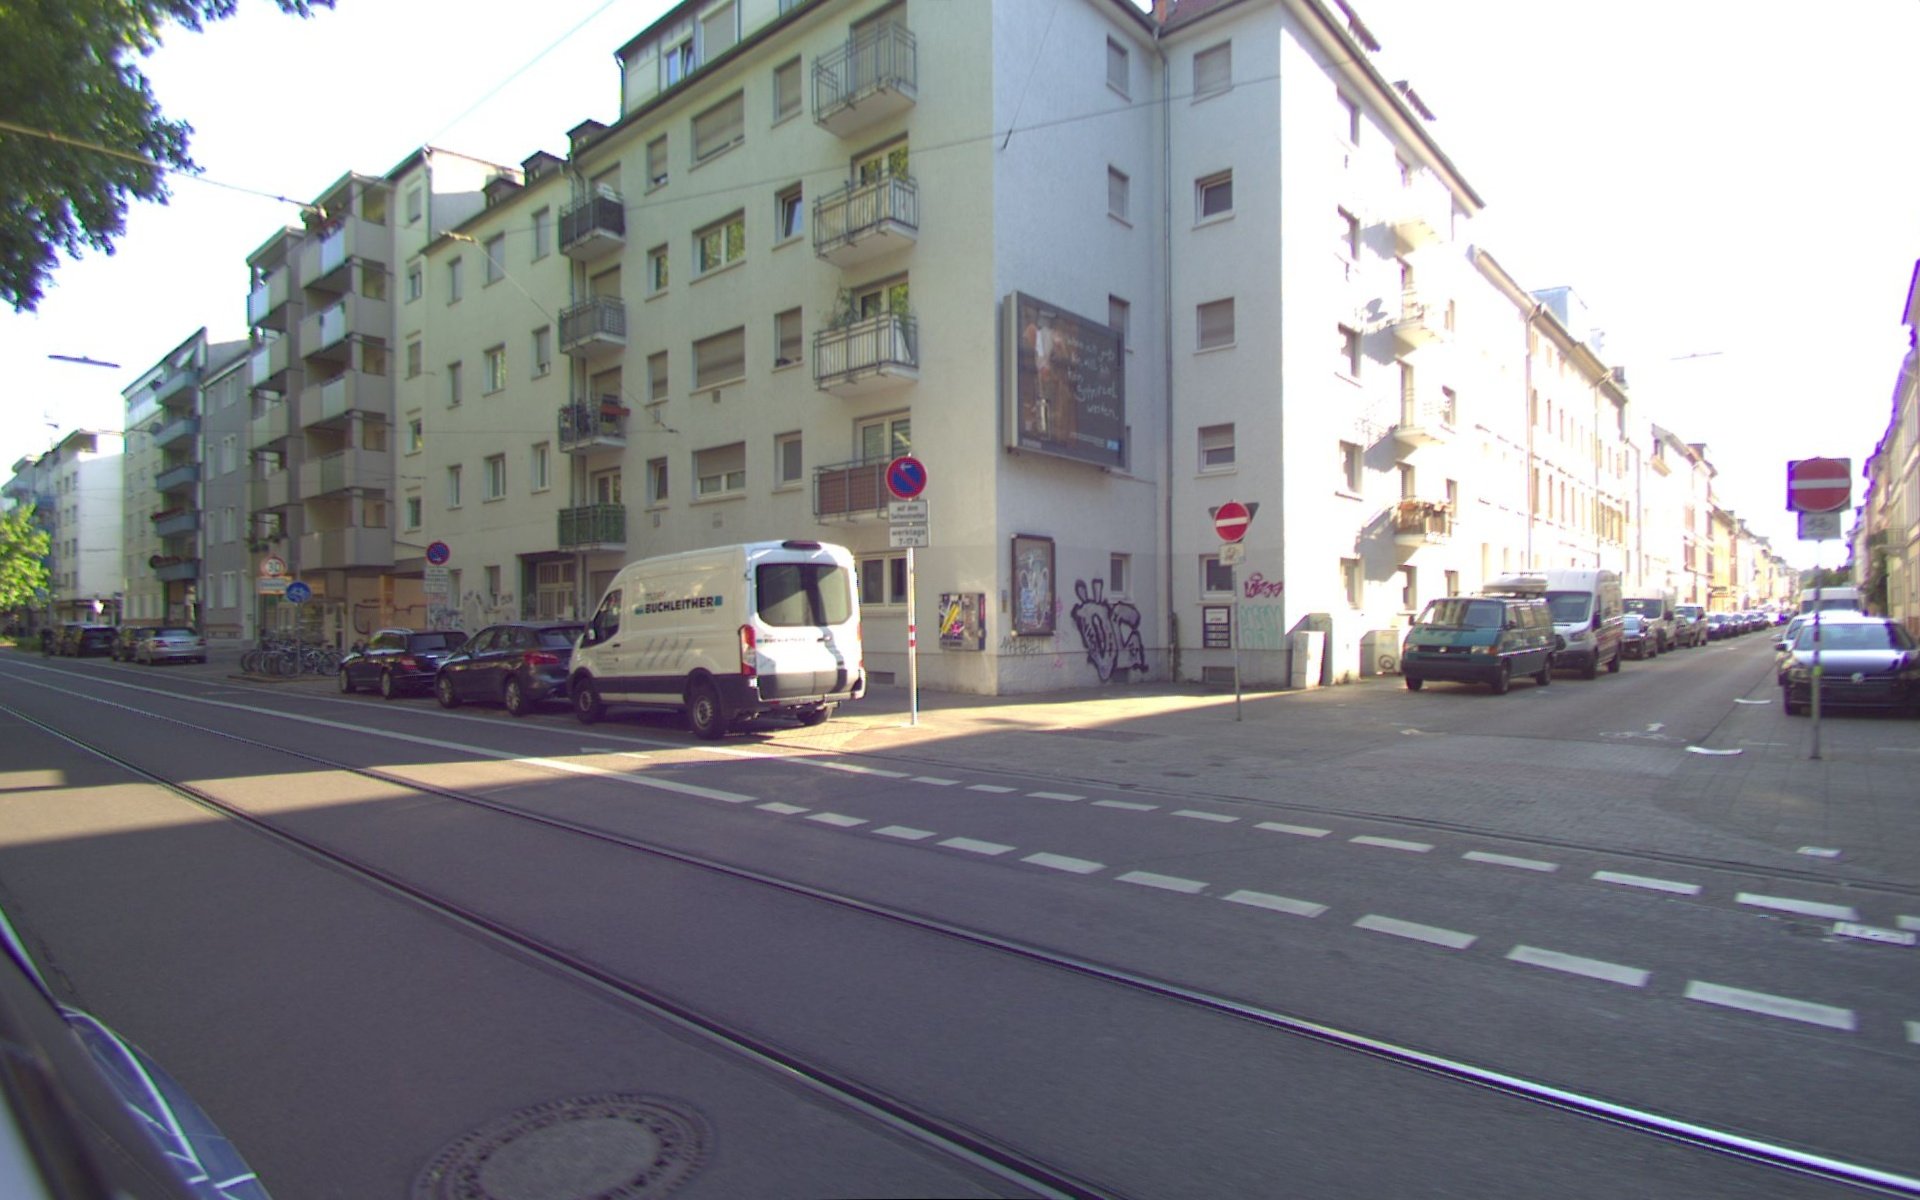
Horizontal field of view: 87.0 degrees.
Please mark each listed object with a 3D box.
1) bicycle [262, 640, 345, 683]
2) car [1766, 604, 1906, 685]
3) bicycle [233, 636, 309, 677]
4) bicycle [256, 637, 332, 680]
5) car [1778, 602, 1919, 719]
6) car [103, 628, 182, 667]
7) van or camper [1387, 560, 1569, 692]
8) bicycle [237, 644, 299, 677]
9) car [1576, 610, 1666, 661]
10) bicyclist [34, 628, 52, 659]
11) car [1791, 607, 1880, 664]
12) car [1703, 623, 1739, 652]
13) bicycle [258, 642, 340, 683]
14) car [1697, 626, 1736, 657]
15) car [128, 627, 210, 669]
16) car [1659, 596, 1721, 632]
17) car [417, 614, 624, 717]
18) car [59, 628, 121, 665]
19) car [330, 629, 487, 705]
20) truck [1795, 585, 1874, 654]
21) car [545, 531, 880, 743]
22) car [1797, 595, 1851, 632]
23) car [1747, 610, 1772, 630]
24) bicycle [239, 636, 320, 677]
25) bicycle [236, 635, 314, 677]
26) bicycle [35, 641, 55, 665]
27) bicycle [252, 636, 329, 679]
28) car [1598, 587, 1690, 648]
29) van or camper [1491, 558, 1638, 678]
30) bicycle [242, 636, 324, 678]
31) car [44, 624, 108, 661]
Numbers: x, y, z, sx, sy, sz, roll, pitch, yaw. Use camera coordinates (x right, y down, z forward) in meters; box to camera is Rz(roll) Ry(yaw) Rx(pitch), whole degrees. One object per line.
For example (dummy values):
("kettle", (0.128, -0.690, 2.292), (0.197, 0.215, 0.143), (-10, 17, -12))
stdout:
("bicycle", (-18.123, 1.682, 27.949), (1.871, 1.045, 0.402), (-1, 0, -42))
("car", (18.801, 0.909, 21.681), (3.623, 1.586, 1.857), (0, -2, -43))
("bicycle", (-21.058, 1.718, 30.968), (1.871, 1.127, 0.402), (-1, 0, -42))
("bicycle", (-19.042, 1.664, 28.955), (1.767, 1.127, 0.425), (-1, 0, -42))
("car", (13.776, 0.867, 15.303), (3.133, 1.597, 1.723), (1, -3, -43))
("car", (-33.860, 1.942, 41.888), (4.237, 1.502, 1.775), (-1, -2, 40))
("van or camper", (10.788, 0.524, 20.882), (2.022, 2.405, 5.046), (-2, -2, 43))
("bicycle", (-21.452, 1.854, 31.406), (0.400, 0.924, 1.610), (-1, 0, 24))
("car", (21.702, 1.132, 33.186), (1.855, 1.586, 3.626), (-3, -2, 43))
("bicyclist", (-41.330, 1.961, 45.610), (0.709, 1.405, 0.503), (-1, -3, 41))
("car", (26.500, 1.045, 30.591), (1.855, 1.586, 3.626), (-3, -2, 43))
("car", (45.632, 2.209, 60.672), (1.585, 1.606, 3.398), (-1, 0, 39))
("bicycle", (-18.510, 1.738, 28.367), (1.871, 1.045, 0.402), (-1, 0, -42))
("car", (42.619, 2.304, 56.986), (1.585, 1.606, 3.398), (-1, 0, 39))
("car", (-30.189, 1.792, 38.578), (4.727, 1.502, 1.671), (-2, -2, 42))
("car", (33.923, 0.639, 47.023), (1.855, 1.586, 3.626), (-3, -2, 43))
("car", (-8.026, 1.106, 18.300), (4.343, 1.644, 1.701), (-1, -1, 40))
("car", (-42.032, 2.215, 48.856), (4.199, 1.612, 1.639), (-1, 0, 41))
("car", (-12.133, 1.375, 22.130), (4.572, 1.467, 1.699), (-1, -2, 43))
("truck", (34.575, 0.772, 39.963), (2.092, 2.534, 4.787), (-3, -2, 43))
("car", (-3.845, 0.506, 14.893), (5.667, 2.555, 2.042), (-2, -2, 43))
("car", (42.351, 0.648, 49.571), (1.775, 1.698, 3.903), (-1, 0, 44))
("car", (68.210, 1.720, 86.359), (1.585, 1.606, 3.398), (-1, 0, 39))
("bicycle", (-20.239, 1.664, 30.130), (1.937, 1.127, 0.440), (-1, 0, -42))
("bicycle", (-20.626, 1.673, 30.505), (1.907, 1.127, 0.440), (-1, 0, -42))
("bicycle", (-40.900, 2.354, 45.220), (1.946, 1.026, 0.412), (-1, -3, 42))
("bicycle", (-19.387, 1.644, 29.322), (1.797, 1.127, 0.425), (-1, 0, -42))
("car", (25.842, 0.667, 38.172), (2.131, 2.176, 4.255), (-3, -2, 44))
("van or camper", (15.402, 0.467, 25.614), (2.156, 2.690, 5.929), (-3, -2, 41))
("bicycle", (-19.896, 1.656, 29.782), (1.944, 1.127, 0.425), (-1, 0, -42))
("car", (-45.672, 2.175, 52.255), (4.485, 1.751, 1.762), (-1, 0, 39))
